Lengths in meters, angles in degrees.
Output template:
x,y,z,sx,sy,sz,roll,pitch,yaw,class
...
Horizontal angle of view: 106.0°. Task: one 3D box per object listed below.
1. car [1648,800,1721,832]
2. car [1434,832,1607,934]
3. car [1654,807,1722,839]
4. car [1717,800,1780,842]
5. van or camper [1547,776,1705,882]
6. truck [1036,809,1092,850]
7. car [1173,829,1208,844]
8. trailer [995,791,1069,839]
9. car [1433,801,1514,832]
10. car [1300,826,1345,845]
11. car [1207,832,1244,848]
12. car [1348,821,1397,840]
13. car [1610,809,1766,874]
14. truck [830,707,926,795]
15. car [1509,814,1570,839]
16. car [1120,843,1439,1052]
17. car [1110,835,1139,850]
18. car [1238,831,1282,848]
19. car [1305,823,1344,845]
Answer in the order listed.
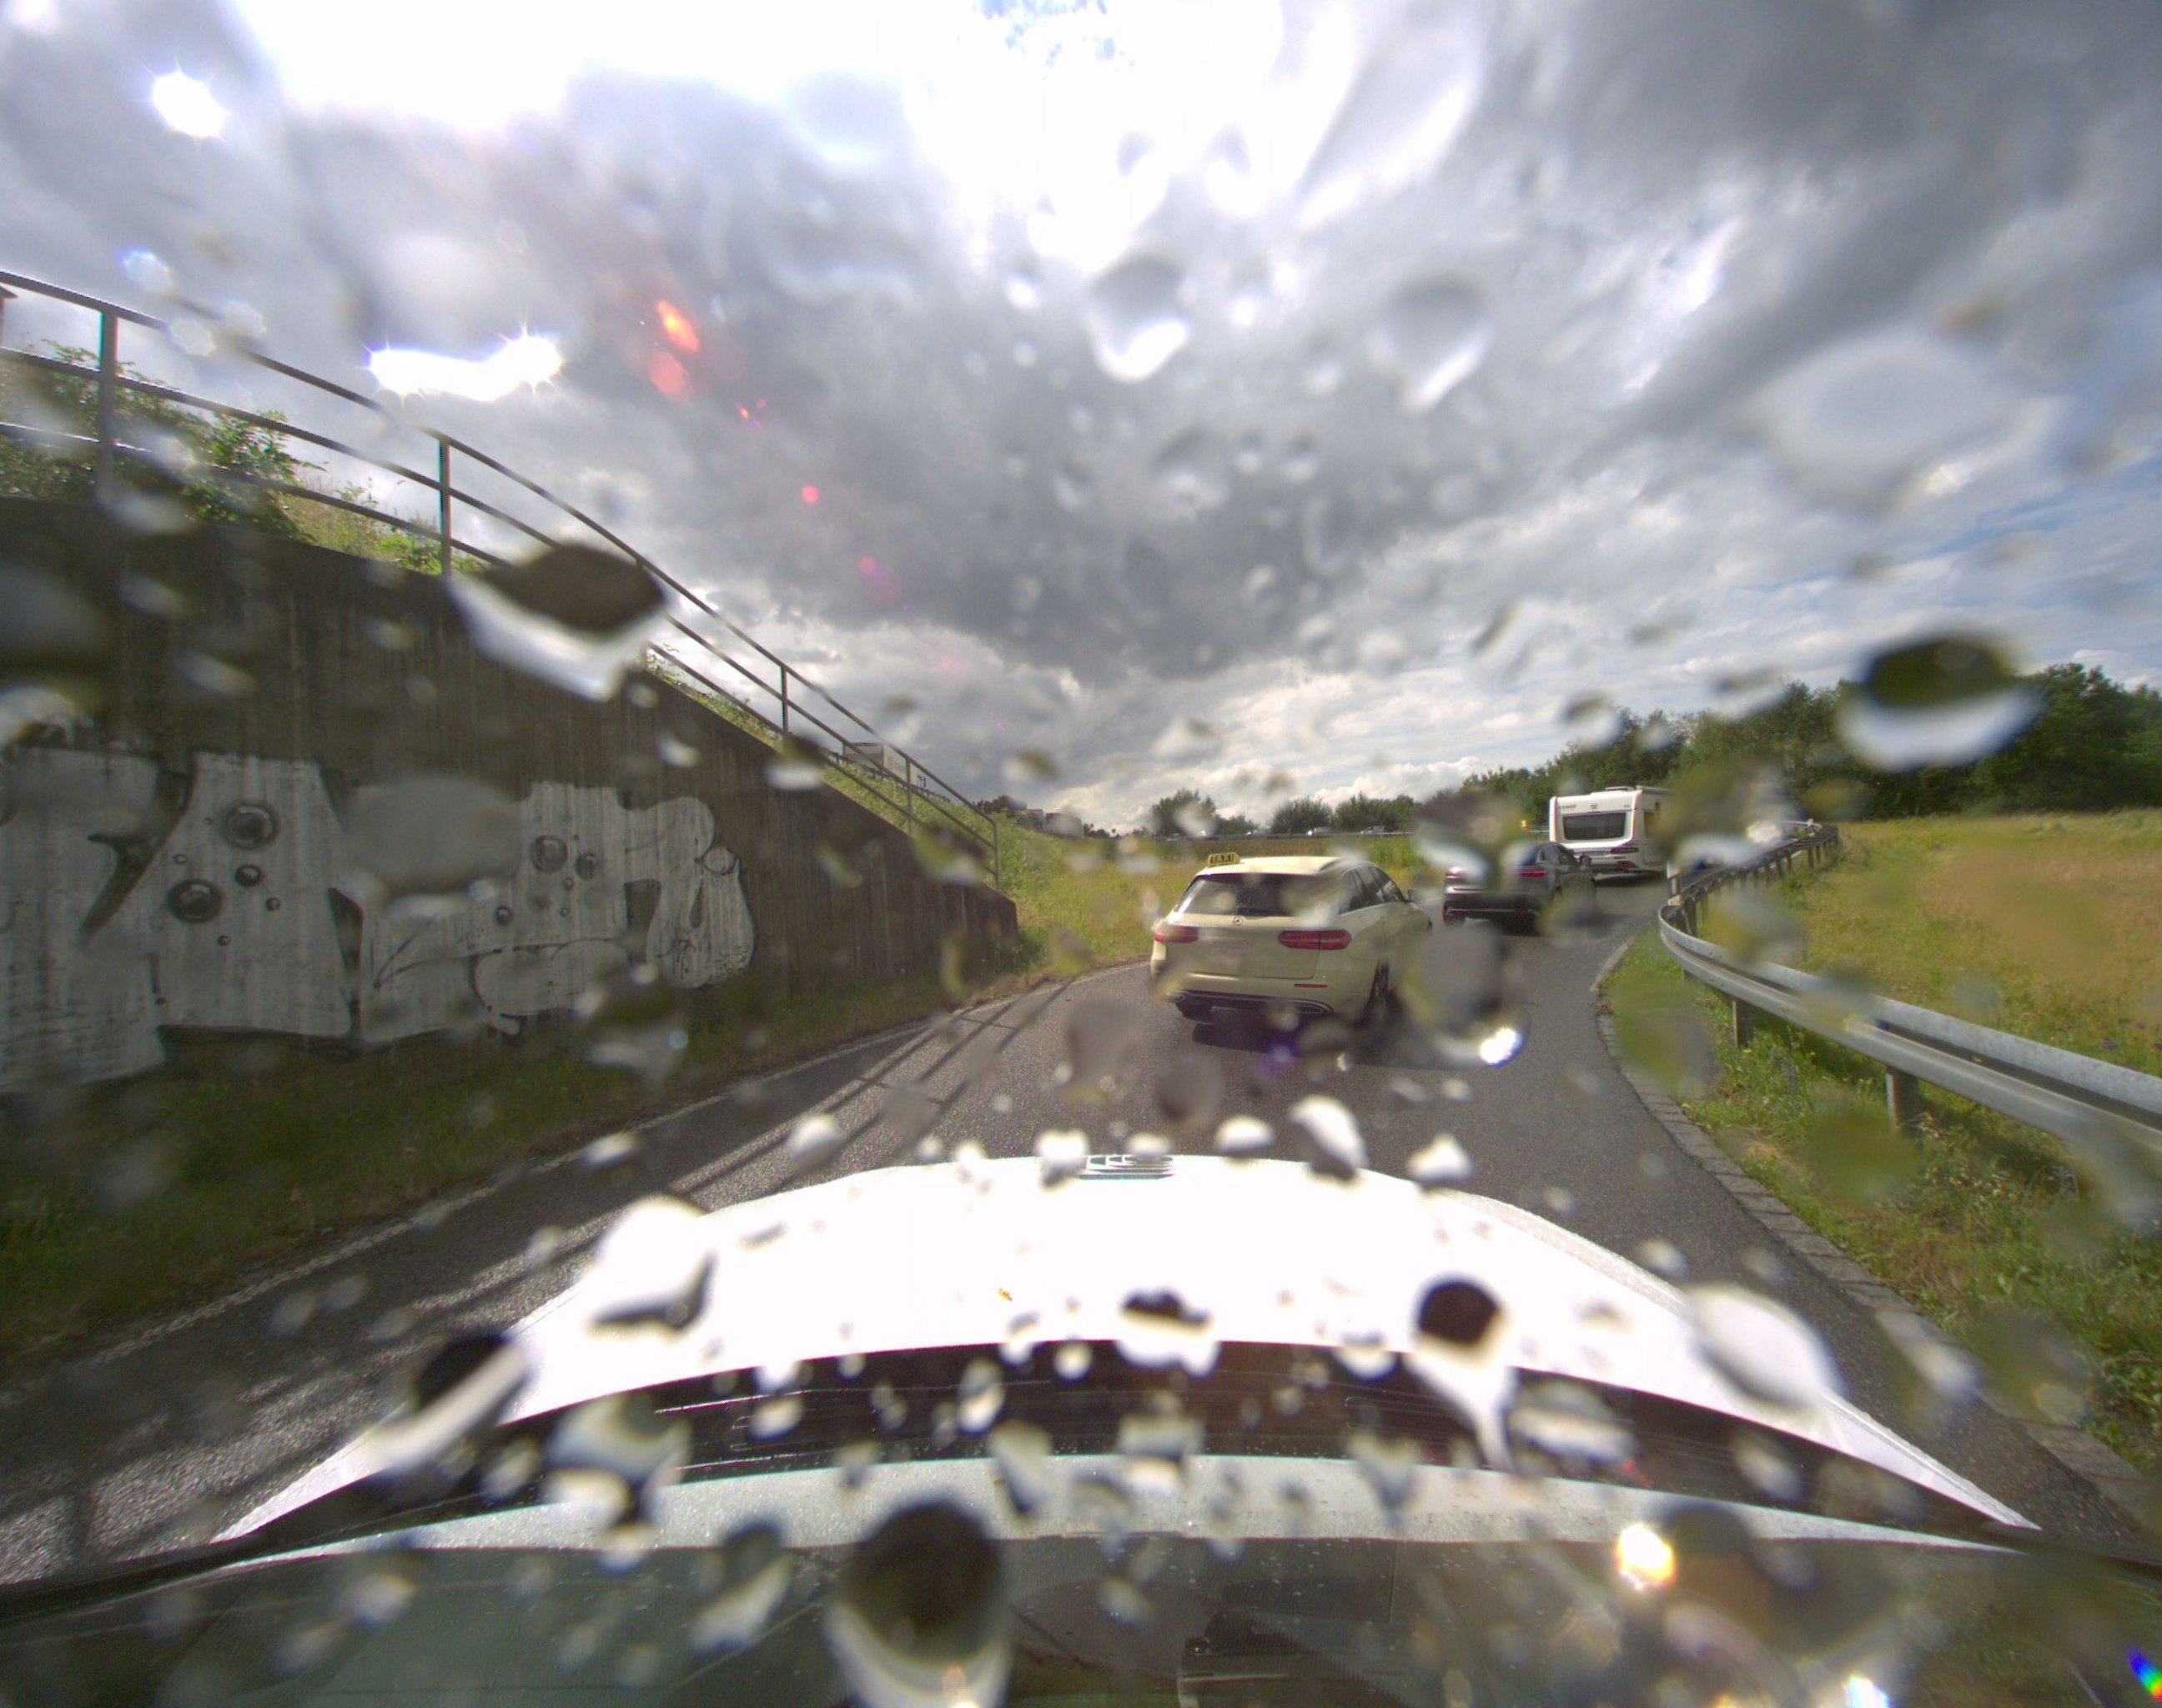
x,y,z,sx,sy,sz,roll,pitch,yaw,class
41.865,-2.594,56.669,1.981,1.861,5.071,-3,-1,10,car
7.899,0.418,14.453,1.702,1.525,4.024,-2,0,43,car
38.394,-1.918,51.671,1.977,1.861,5.082,2,1,19,car
34.325,-1.641,42.007,1.974,1.861,5.090,-4,-2,35,car
16.039,-0.674,23.811,6.034,2.729,2.409,-1,0,-42,van or camper
-2.185,-3.267,118.195,4.433,4.504,19.424,-2,-3,10,truck
15.840,-2.504,117.883,2.010,1.861,4.998,-2,-2,-39,car
-5.504,-4.451,98.846,4.386,3.956,20.268,-2,-3,10,trailer
38.845,-3.703,80.910,2.881,2.595,6.925,-3,0,-26,car
29.338,-2.239,99.131,2.009,1.861,5.000,-2,-2,-37,car
19.568,-1.841,110.315,4.452,1.861,2.013,-4,-2,35,car
33.299,-2.646,93.132,2.008,1.861,5.003,-2,-2,-34,car
20.436,-0.440,27.338,5.784,1.925,2.410,-2,0,-34,car
-12.683,-6.300,51.930,3.165,3.967,9.246,-1,-3,5,truck
41.350,-2.470,73.632,1.994,1.861,5.038,-2,-1,-11,car
2.330,0.665,8.339,1.898,1.507,4.625,-1,0,30,car
6.159,-1.633,115.019,3.969,2.014,1.828,-1,-3,4,car
22.955,-1.899,104.528,4.993,1.861,2.012,-4,-2,43,car
29.391,-2.391,98.345,3.949,2.014,2.012,-10,-9,43,car
